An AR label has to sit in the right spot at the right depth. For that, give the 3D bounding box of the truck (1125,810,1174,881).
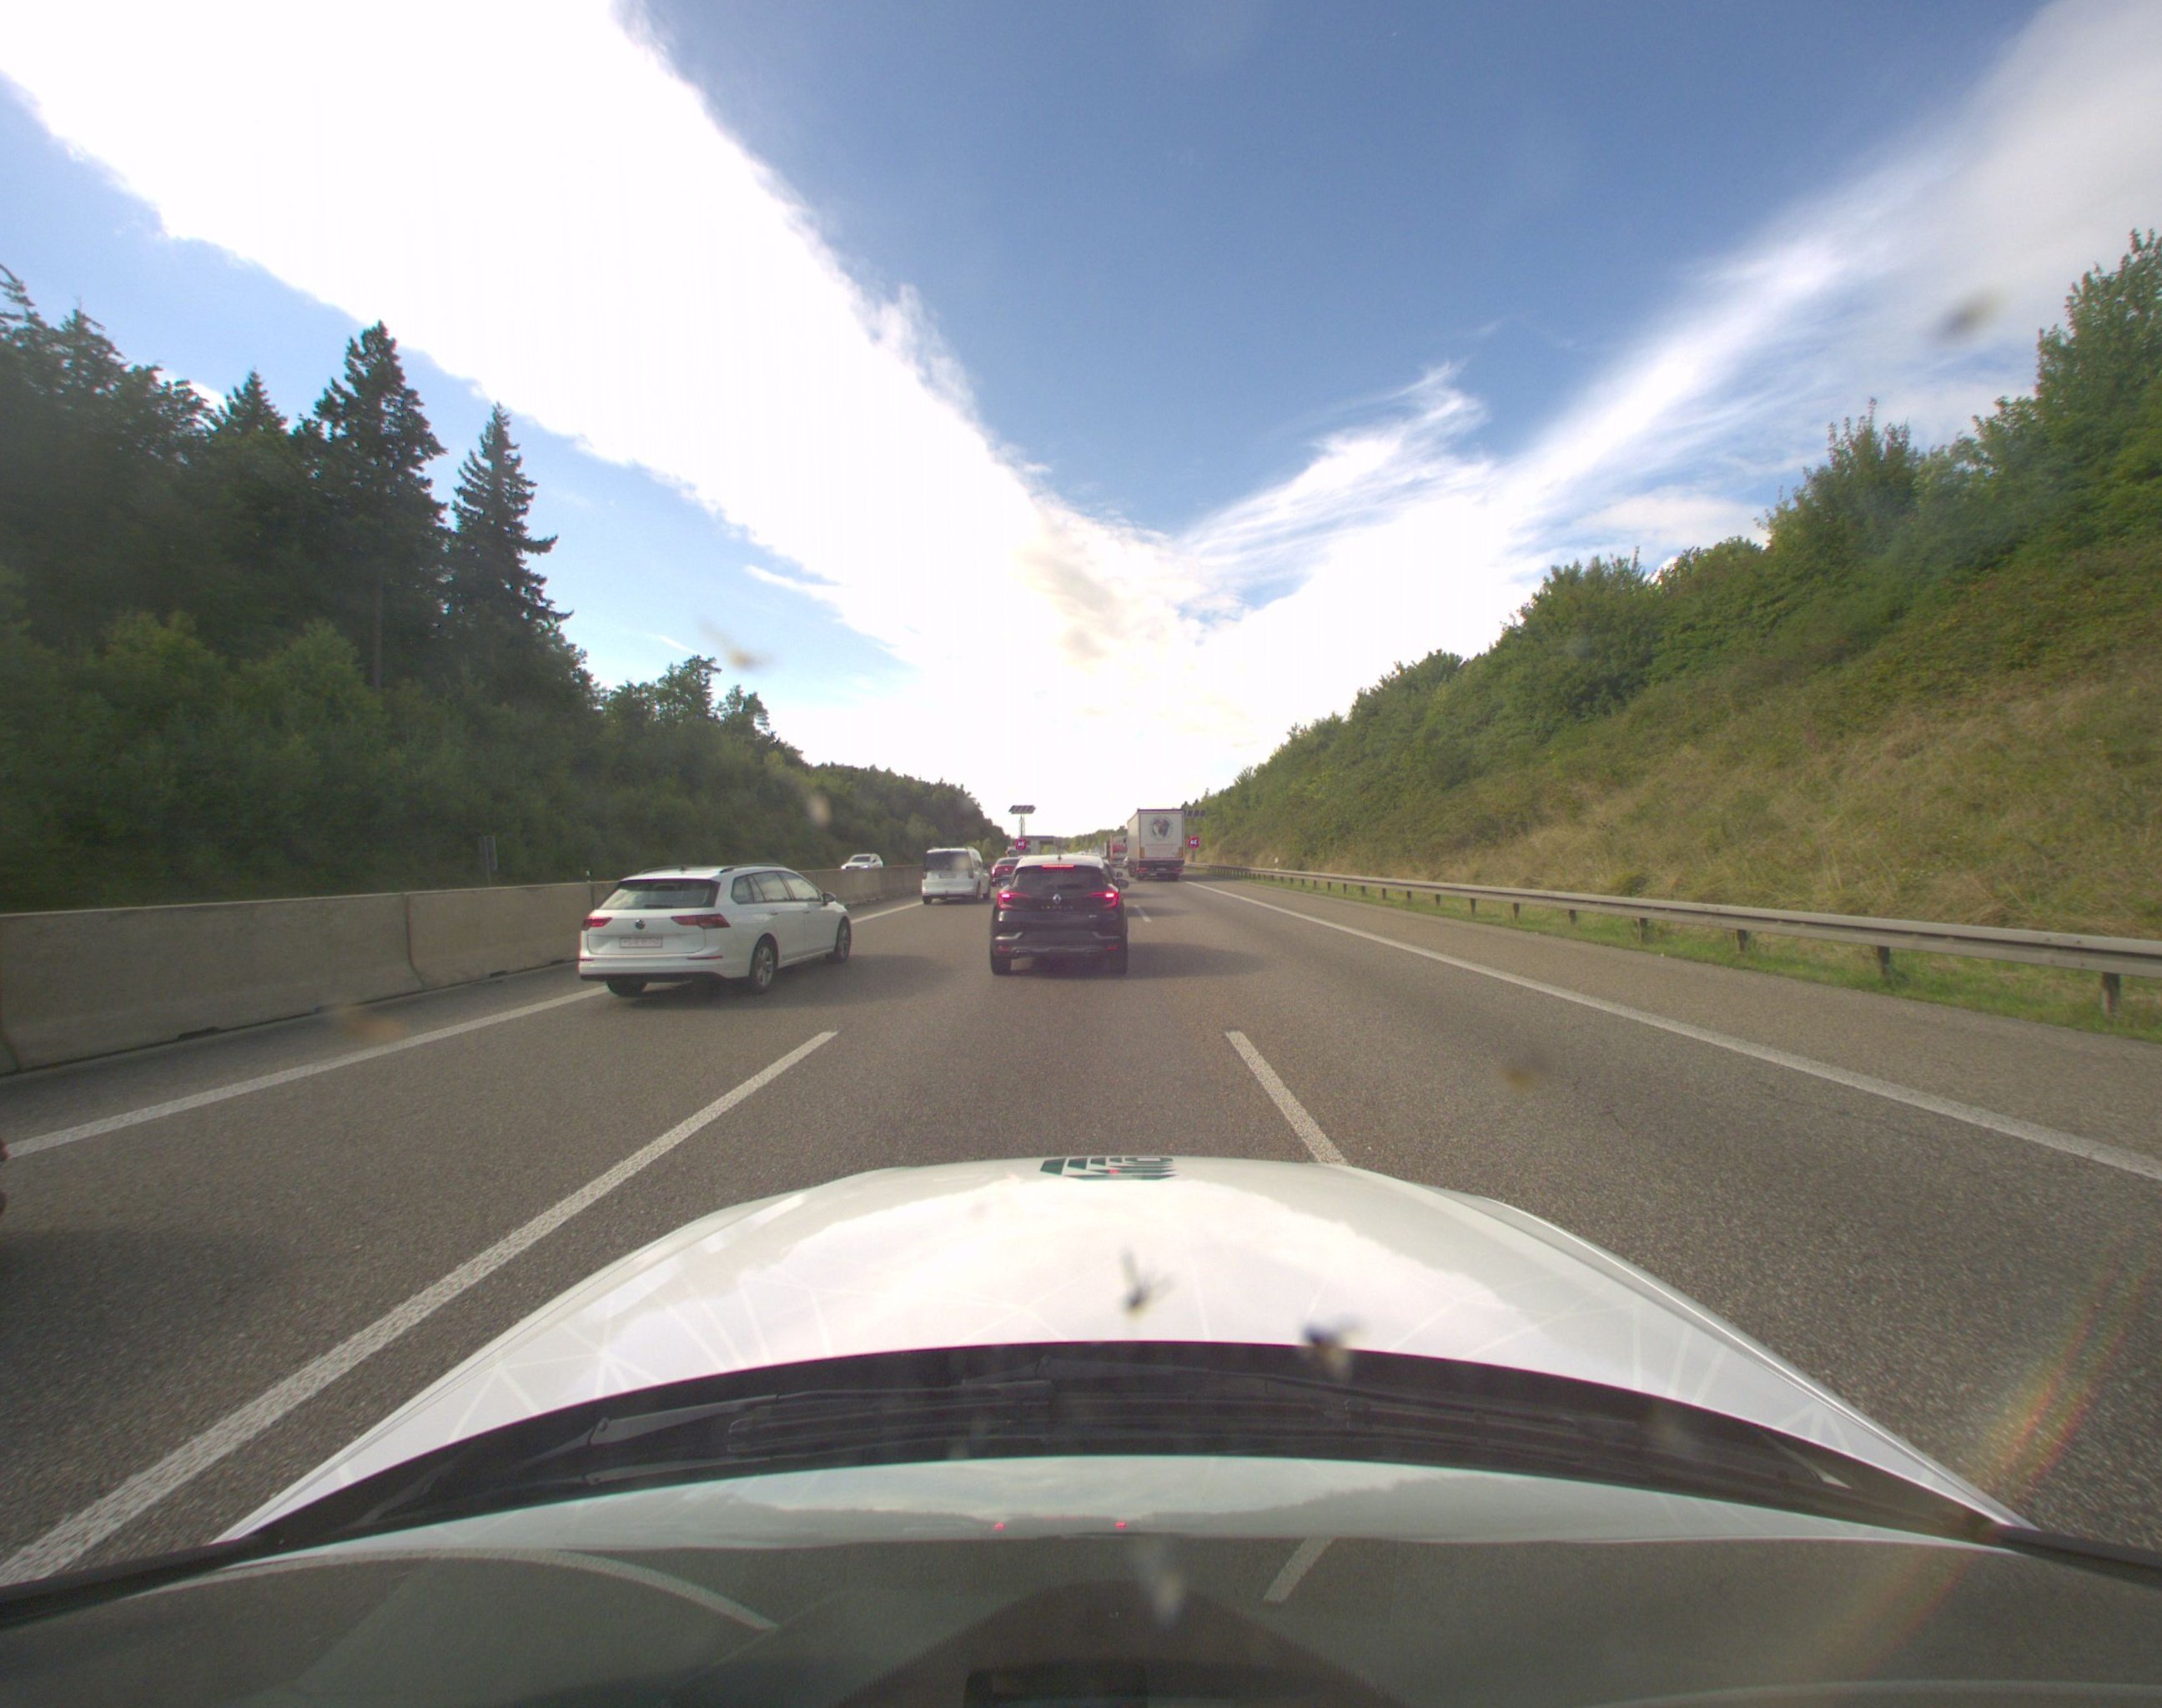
[{"bbox_3d":[4.711,-0.589,57.155,2.986,4.667,5.940,-1,0,1],"label":"truck"}]

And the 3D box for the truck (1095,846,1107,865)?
[{"bbox_3d":[5.775,0.404,230.797,3.154,5.159,12.743,-1,-1,2],"label":"truck"}]

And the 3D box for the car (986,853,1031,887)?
[{"bbox_3d":[-3.718,0.817,42.386,1.848,1.641,3.927,-1,-1,2],"label":"car"}]

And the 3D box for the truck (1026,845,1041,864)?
[{"bbox_3d":[-12.270,0.078,211.595,2.880,4.934,10.082,-1,0,1],"label":"truck"}]

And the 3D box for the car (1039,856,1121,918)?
[{"bbox_3d":[0.050,0.829,21.901,1.986,1.514,4.001,-1,-1,2],"label":"car"}]

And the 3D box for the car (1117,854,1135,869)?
[{"bbox_3d":[4.810,0.774,87.403,1.798,1.533,3.925,-1,-1,0],"label":"car"}]

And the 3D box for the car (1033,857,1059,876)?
[{"bbox_3d":[-3.128,1.108,73.491,1.986,1.613,4.001,-1,-1,2],"label":"car"}]

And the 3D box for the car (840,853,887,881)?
[{"bbox_3d":[-15.092,0.871,56.713,1.845,1.810,4.925,-1,0,1],"label":"car"}]

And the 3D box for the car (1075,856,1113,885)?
[{"bbox_3d":[0.737,0.882,44.677,1.986,1.514,4.001,-1,-1,2],"label":"car"}]

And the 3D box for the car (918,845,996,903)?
[{"bbox_3d":[-4.109,0.658,27.657,1.905,1.789,4.417,-1,-1,0],"label":"car"}]

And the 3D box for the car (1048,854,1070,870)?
[{"bbox_3d":[-2.267,0.850,84.553,1.986,1.613,4.002,-1,0,2],"label":"car"}]

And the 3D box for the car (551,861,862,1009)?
[{"bbox_3d":[-4.365,0.839,10.372,1.797,1.461,4.311,-1,-1,2],"label":"car"}]

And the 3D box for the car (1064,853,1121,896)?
[{"bbox_3d":[0.481,0.736,30.562,1.986,1.514,4.001,-1,-1,2],"label":"car"}]

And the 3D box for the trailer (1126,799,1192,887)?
[{"bbox_3d":[4.563,-0.584,50.265,2.991,4.661,13.292,-1,0,1],"label":"trailer"}]

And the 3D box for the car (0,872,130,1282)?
[{"bbox_3d":[-4.851,0.810,0.942,1.836,1.456,4.749,-1,0,2],"label":"car"}]

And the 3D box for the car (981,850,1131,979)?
[{"bbox_3d":[-0.192,0.757,11.986,1.797,1.552,4.004,-1,0,4],"label":"car"}]

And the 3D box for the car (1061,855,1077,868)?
[{"bbox_3d":[-1.572,0.991,107.363,1.986,1.613,4.002,-1,0,2],"label":"car"}]

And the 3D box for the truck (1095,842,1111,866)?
[{"bbox_3d":[5.372,0.096,196.056,3.153,5.505,12.749,-1,-1,4],"label":"truck"}]

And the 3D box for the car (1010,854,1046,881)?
[{"bbox_3d":[-3.498,0.913,54.709,1.986,1.722,4.001,-1,-1,2],"label":"car"}]

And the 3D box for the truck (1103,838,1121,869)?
[{"bbox_3d":[5.840,-0.056,154.516,3.154,5.505,12.743,-1,-1,2],"label":"truck"}]

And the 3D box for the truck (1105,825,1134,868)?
[{"bbox_3d":[4.836,-0.806,102.626,3.352,5.044,12.743,-1,-1,2],"label":"truck"}]

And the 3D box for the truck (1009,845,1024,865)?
[{"bbox_3d":[-16.905,0.254,212.935,2.880,5.093,10.082,-1,0,1],"label":"truck"}]

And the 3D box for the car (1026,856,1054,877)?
[{"bbox_3d":[-3.288,1.030,65.957,1.986,1.613,4.001,-1,-1,2],"label":"car"}]
